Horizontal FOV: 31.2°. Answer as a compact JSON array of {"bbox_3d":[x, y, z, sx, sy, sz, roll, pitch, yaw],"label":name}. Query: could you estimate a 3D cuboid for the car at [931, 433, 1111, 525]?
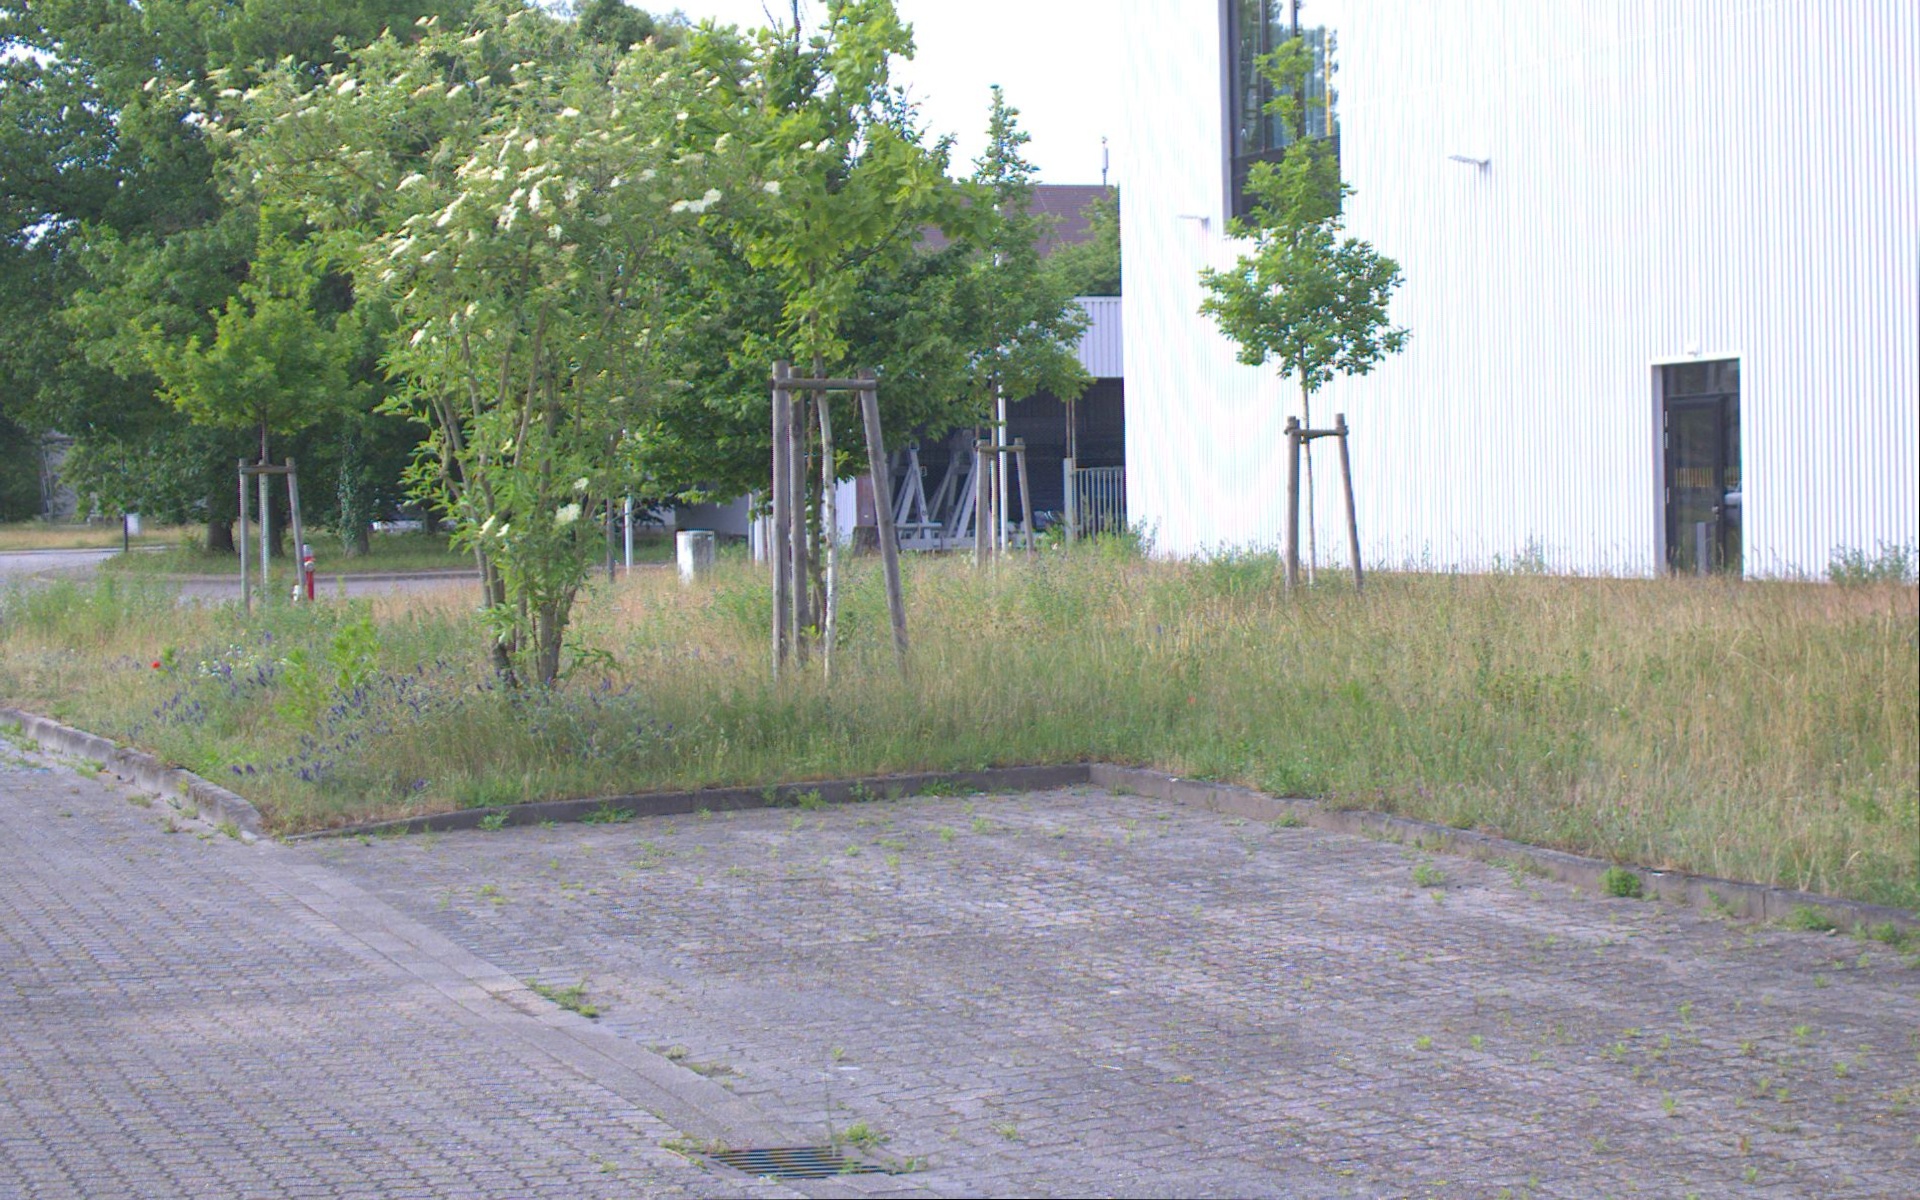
[{"bbox_3d":[1.375,-2.815,80.237,2.241,2.006,5.338,-3,2,-22],"label":"car"}]
